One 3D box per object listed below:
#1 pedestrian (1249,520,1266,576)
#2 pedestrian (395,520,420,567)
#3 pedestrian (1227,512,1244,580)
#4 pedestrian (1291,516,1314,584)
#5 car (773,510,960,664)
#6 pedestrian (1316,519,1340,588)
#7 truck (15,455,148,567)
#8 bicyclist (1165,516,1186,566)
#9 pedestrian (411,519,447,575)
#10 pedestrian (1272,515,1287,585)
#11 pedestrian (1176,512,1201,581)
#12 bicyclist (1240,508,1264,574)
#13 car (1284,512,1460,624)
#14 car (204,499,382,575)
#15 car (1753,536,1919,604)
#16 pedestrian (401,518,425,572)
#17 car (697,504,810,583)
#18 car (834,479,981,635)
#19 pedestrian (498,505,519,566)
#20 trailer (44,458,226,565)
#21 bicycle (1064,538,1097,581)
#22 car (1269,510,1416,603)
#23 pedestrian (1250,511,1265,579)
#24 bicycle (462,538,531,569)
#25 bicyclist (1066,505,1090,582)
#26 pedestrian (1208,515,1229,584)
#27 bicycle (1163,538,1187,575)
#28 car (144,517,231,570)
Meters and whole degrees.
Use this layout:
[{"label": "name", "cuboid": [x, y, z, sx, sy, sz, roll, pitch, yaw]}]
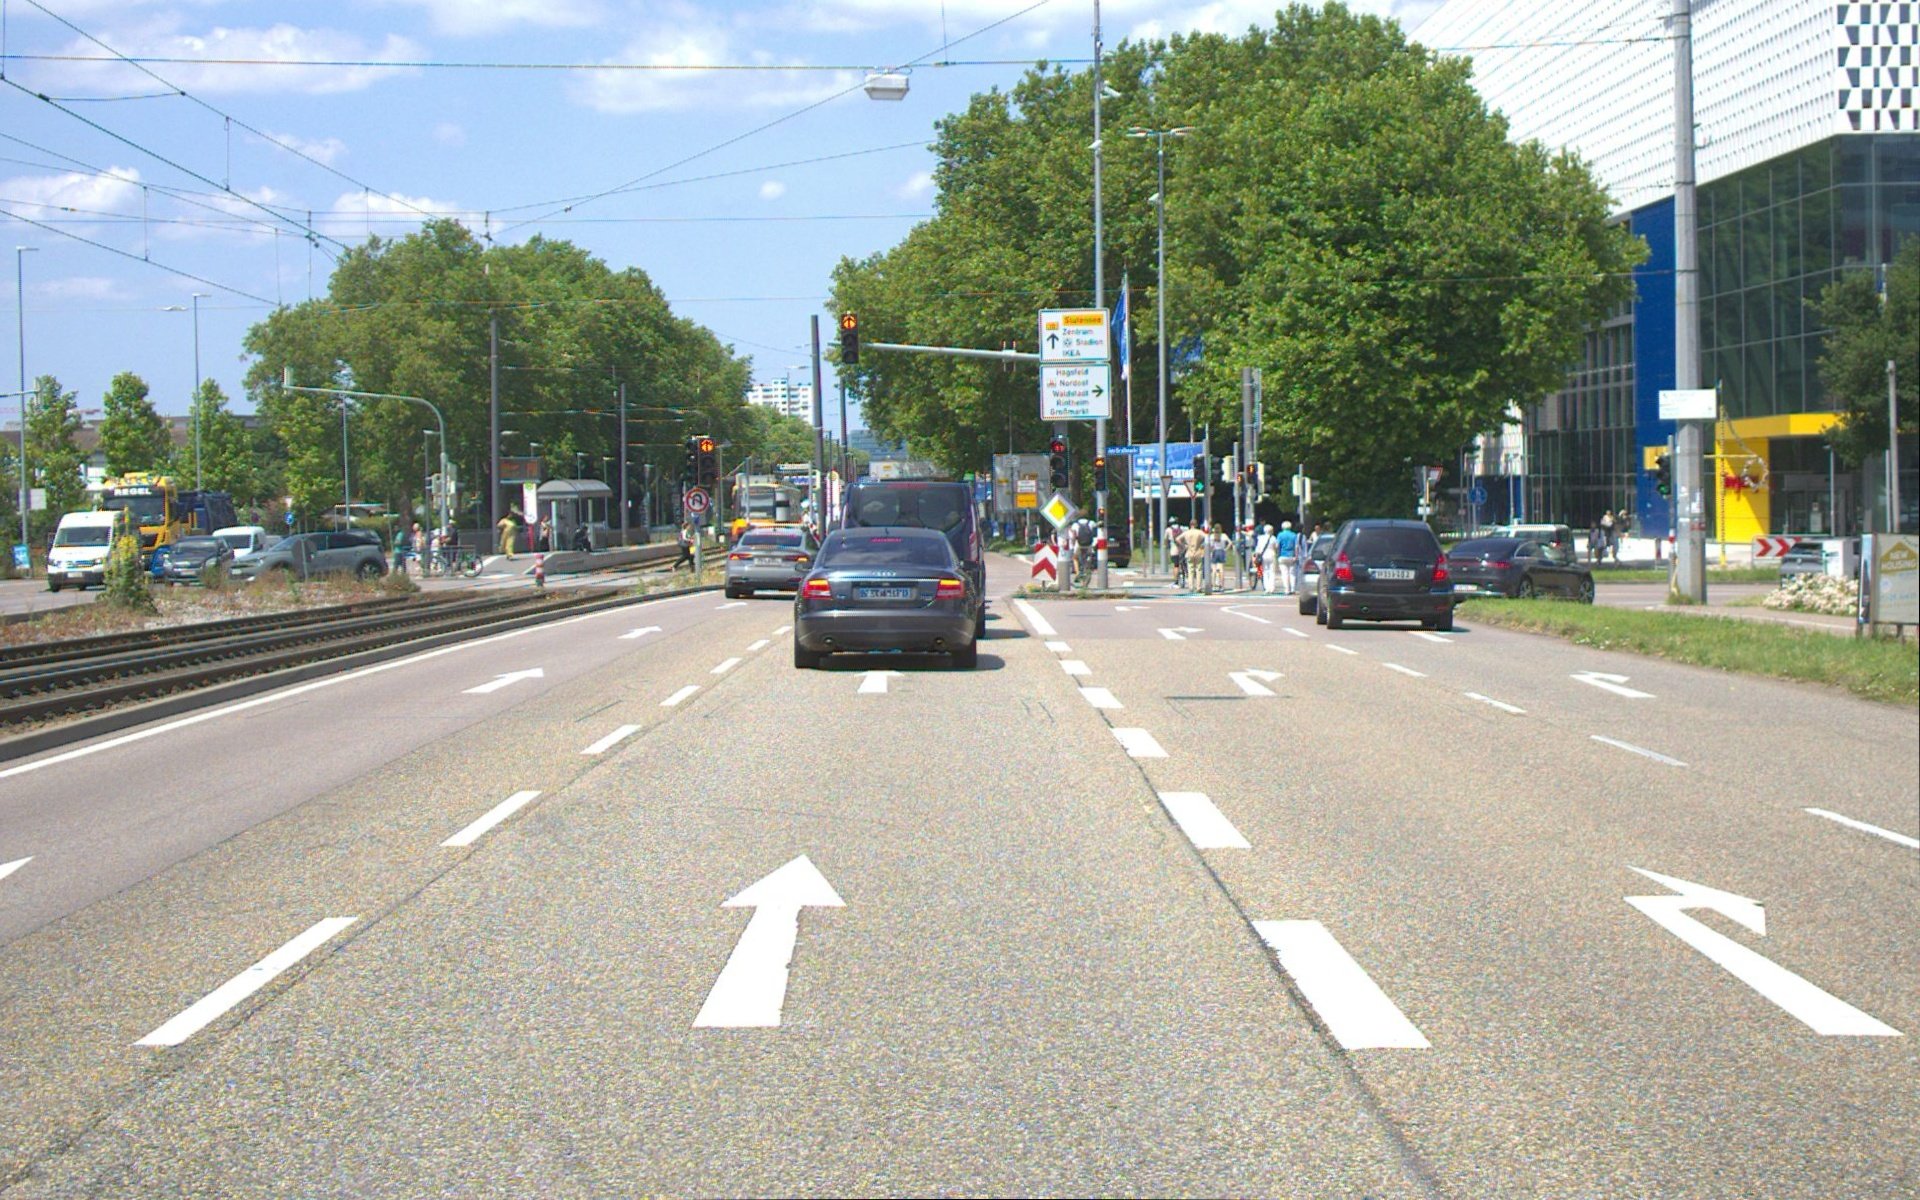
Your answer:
[{"label": "pedestrian", "cuboid": [7.003, -1.229, 80.871, 0.372, 1.299, 0.365, 1, 1, 3]}, {"label": "pedestrian", "cuboid": [-16.850, -1.714, 104.892, 0.685, 1.438, 0.573, 0, 1, -4]}, {"label": "pedestrian", "cuboid": [6.649, -1.310, 83.001, 0.381, 1.629, 0.377, 1, 1, 3]}, {"label": "pedestrian", "cuboid": [8.254, -1.210, 82.920, 0.504, 1.629, 0.449, 1, 1, 3]}, {"label": "car", "cuboid": [-0.919, -0.180, 35.453, 1.792, 1.450, 4.000, -1, 2, 0]}, {"label": "pedestrian", "cuboid": [8.876, -1.118, 82.898, 0.521, 1.664, 0.494, 1, 1, 3]}, {"label": "truck", "cuboid": [-28.717, -2.897, 112.644, 2.767, 3.557, 6.440, 0, 1, -1]}, {"label": "bicyclist", "cuboid": [5.203, -1.429, 83.048, 0.470, 1.189, 0.791, 0, 1, 2]}, {"label": "pedestrian", "cuboid": [-16.602, -1.659, 107.408, 0.824, 1.714, 0.774, 1, 1, 22]}, {"label": "pedestrian", "cuboid": [7.515, -1.174, 80.840, 0.320, 1.629, 0.377, 1, 1, 3]}, {"label": "pedestrian", "cuboid": [5.376, -1.265, 80.898, 0.554, 1.629, 0.433, 1, 1, 3]}, {"label": "bicyclist", "cuboid": [7.915, -1.601, 93.068, 0.529, 1.758, 0.827, 0, 1, 13]}, {"label": "car", "cuboid": [5.869, -0.494, 49.403, 1.993, 1.481, 4.000, 1, 2, 0]}, {"label": "car", "cuboid": [-17.876, -1.694, 92.126, 4.395, 1.911, 2.001, 1, 2, -20]}, {"label": "car", "cuboid": [20.693, -0.693, 79.638, 4.131, 1.481, 2.001, 1, 2, -25]}, {"label": "pedestrian", "cuboid": [-16.560, -1.664, 104.055, 0.685, 1.631, 0.573, 0, 1, -4]}, {"label": "car", "cuboid": [-4.076, -1.152, 68.488, 1.993, 1.481, 4.000, 1, 2, 0]}, {"label": "car", "cuboid": [-0.681, -0.600, 45.044, 1.836, 1.943, 4.001, 0, 2, -1]}, {"label": "pedestrian", "cuboid": [-15.117, -2.161, 115.159, 0.685, 2.007, 0.573, 0, 1, -4]}, {"label": "trailer", "cuboid": [-28.802, -3.085, 120.897, 2.767, 3.506, 15.879, 0, 1, -1]}, {"label": "bicycle", "cuboid": [2.846, -0.963, 81.504, 0.688, 0.990, 2.752, 1, 1, 0]}, {"label": "car", "cuboid": [6.493, -0.769, 58.809, 1.993, 1.481, 4.167, 1, 2, 0]}, {"label": "pedestrian", "cuboid": [7.181, -1.323, 82.922, 0.339, 1.629, 0.377, 1, 1, 3]}, {"label": "bicycle", "cuboid": [-14.091, -1.424, 104.576, 2.055, 0.922, 0.753, 0, 1, -10]}, {"label": "bicyclist", "cuboid": [2.775, -1.331, 80.988, 0.529, 1.783, 1.088, 0, 1, 0]}, {"label": "pedestrian", "cuboid": [6.084, -1.195, 80.919, 0.445, 1.629, 0.430, 1, 1, 3]}, {"label": "bicycle", "cuboid": [5.162, -1.055, 82.604, 0.550, 0.874, 1.697, 1, 1, 2]}, {"label": "car", "cuboid": [-25.176, -1.866, 112.171, 1.822, 1.664, 4.462, 1, 2, 0]}]
